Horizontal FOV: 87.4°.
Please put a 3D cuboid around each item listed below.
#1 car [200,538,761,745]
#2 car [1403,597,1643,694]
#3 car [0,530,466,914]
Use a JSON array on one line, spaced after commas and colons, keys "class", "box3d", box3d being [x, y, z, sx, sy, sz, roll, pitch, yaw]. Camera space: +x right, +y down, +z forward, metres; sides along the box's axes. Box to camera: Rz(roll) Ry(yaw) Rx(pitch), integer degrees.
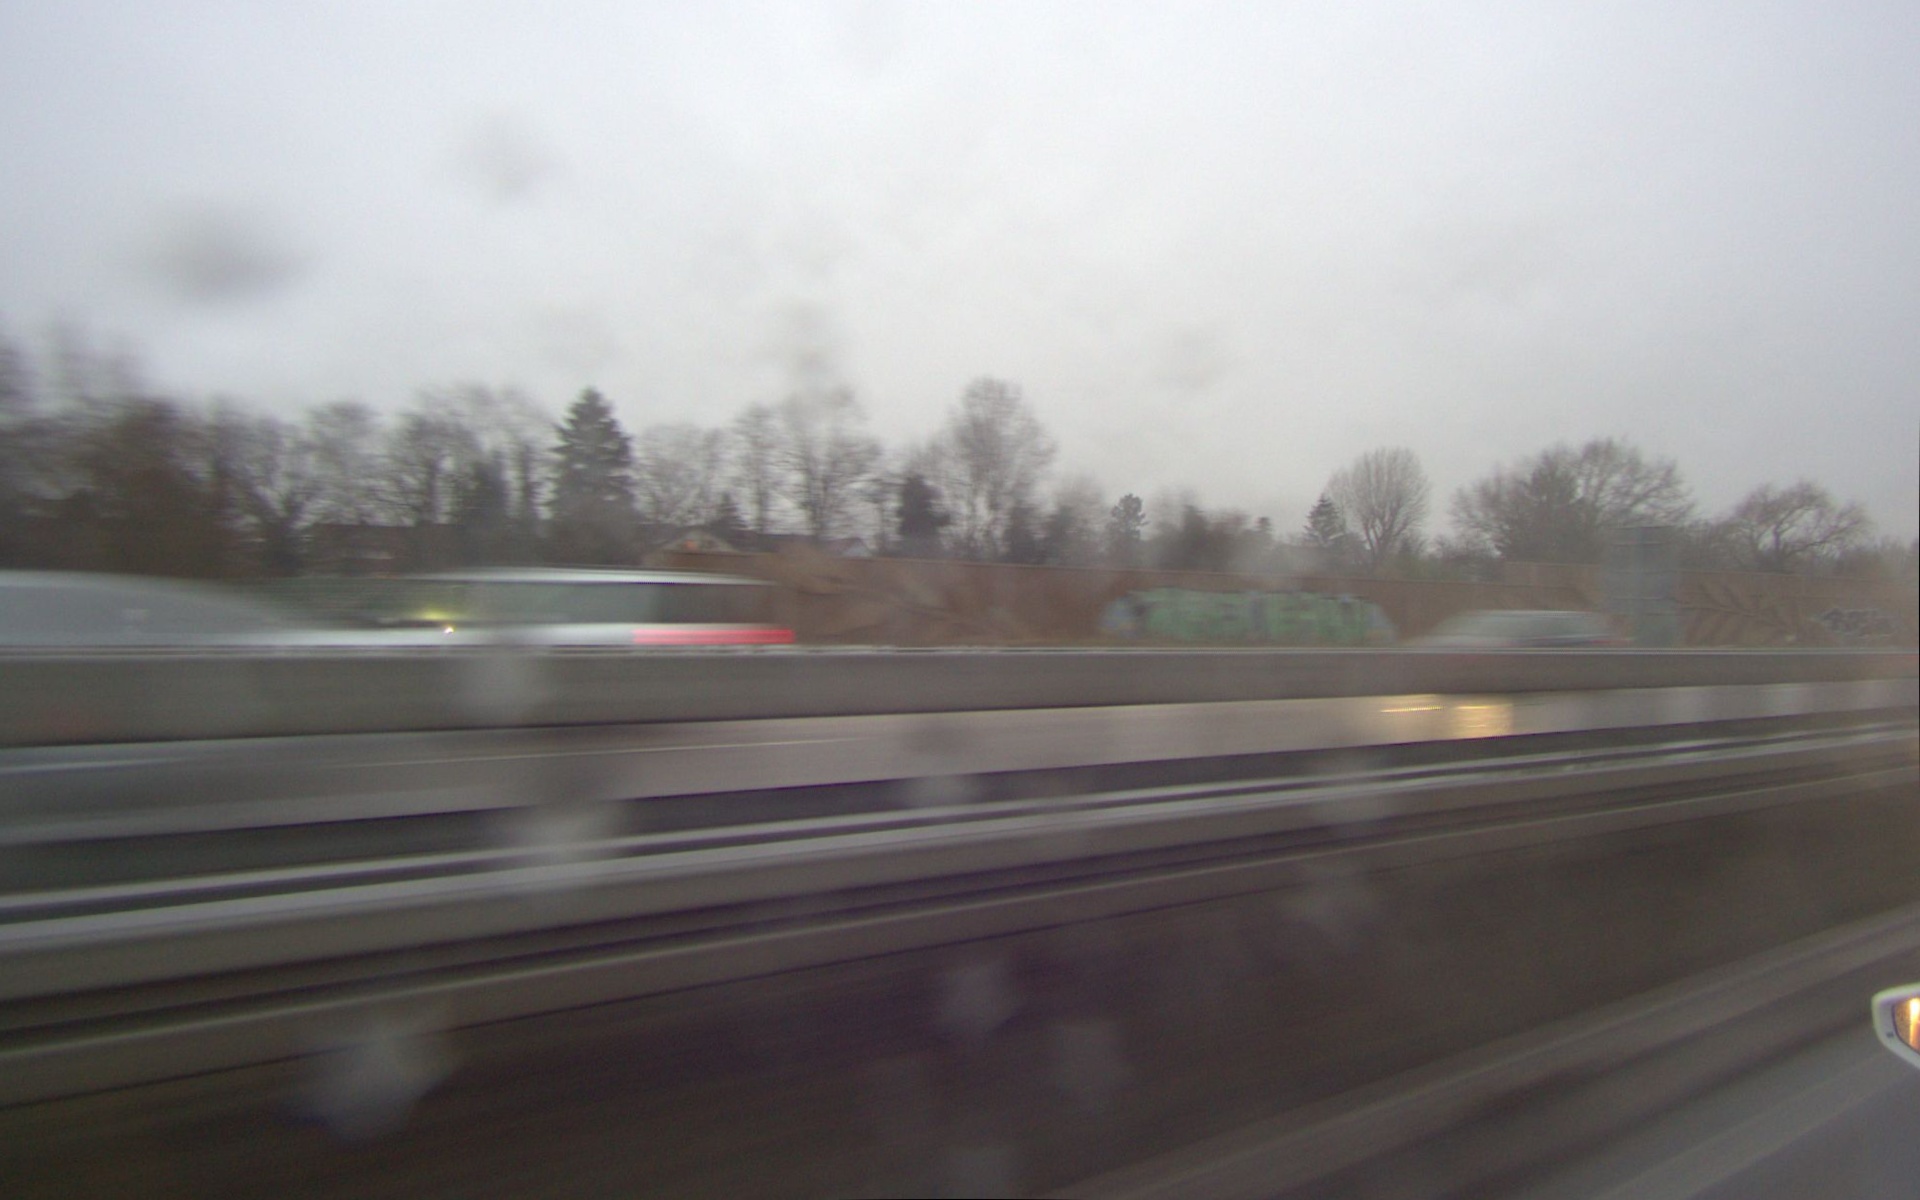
[{"class": "car", "box3d": [-4.490, 0.378, 9.949, 4.591, 1.649, 1.857, 2, 0, -30]}, {"class": "car", "box3d": [10.789, 0.835, 19.168, 4.723, 1.649, 1.857, 2, 0, -30]}, {"class": "car", "box3d": [-4.736, 0.438, 4.288, 4.591, 1.469, 1.857, 2, 0, -30]}]
